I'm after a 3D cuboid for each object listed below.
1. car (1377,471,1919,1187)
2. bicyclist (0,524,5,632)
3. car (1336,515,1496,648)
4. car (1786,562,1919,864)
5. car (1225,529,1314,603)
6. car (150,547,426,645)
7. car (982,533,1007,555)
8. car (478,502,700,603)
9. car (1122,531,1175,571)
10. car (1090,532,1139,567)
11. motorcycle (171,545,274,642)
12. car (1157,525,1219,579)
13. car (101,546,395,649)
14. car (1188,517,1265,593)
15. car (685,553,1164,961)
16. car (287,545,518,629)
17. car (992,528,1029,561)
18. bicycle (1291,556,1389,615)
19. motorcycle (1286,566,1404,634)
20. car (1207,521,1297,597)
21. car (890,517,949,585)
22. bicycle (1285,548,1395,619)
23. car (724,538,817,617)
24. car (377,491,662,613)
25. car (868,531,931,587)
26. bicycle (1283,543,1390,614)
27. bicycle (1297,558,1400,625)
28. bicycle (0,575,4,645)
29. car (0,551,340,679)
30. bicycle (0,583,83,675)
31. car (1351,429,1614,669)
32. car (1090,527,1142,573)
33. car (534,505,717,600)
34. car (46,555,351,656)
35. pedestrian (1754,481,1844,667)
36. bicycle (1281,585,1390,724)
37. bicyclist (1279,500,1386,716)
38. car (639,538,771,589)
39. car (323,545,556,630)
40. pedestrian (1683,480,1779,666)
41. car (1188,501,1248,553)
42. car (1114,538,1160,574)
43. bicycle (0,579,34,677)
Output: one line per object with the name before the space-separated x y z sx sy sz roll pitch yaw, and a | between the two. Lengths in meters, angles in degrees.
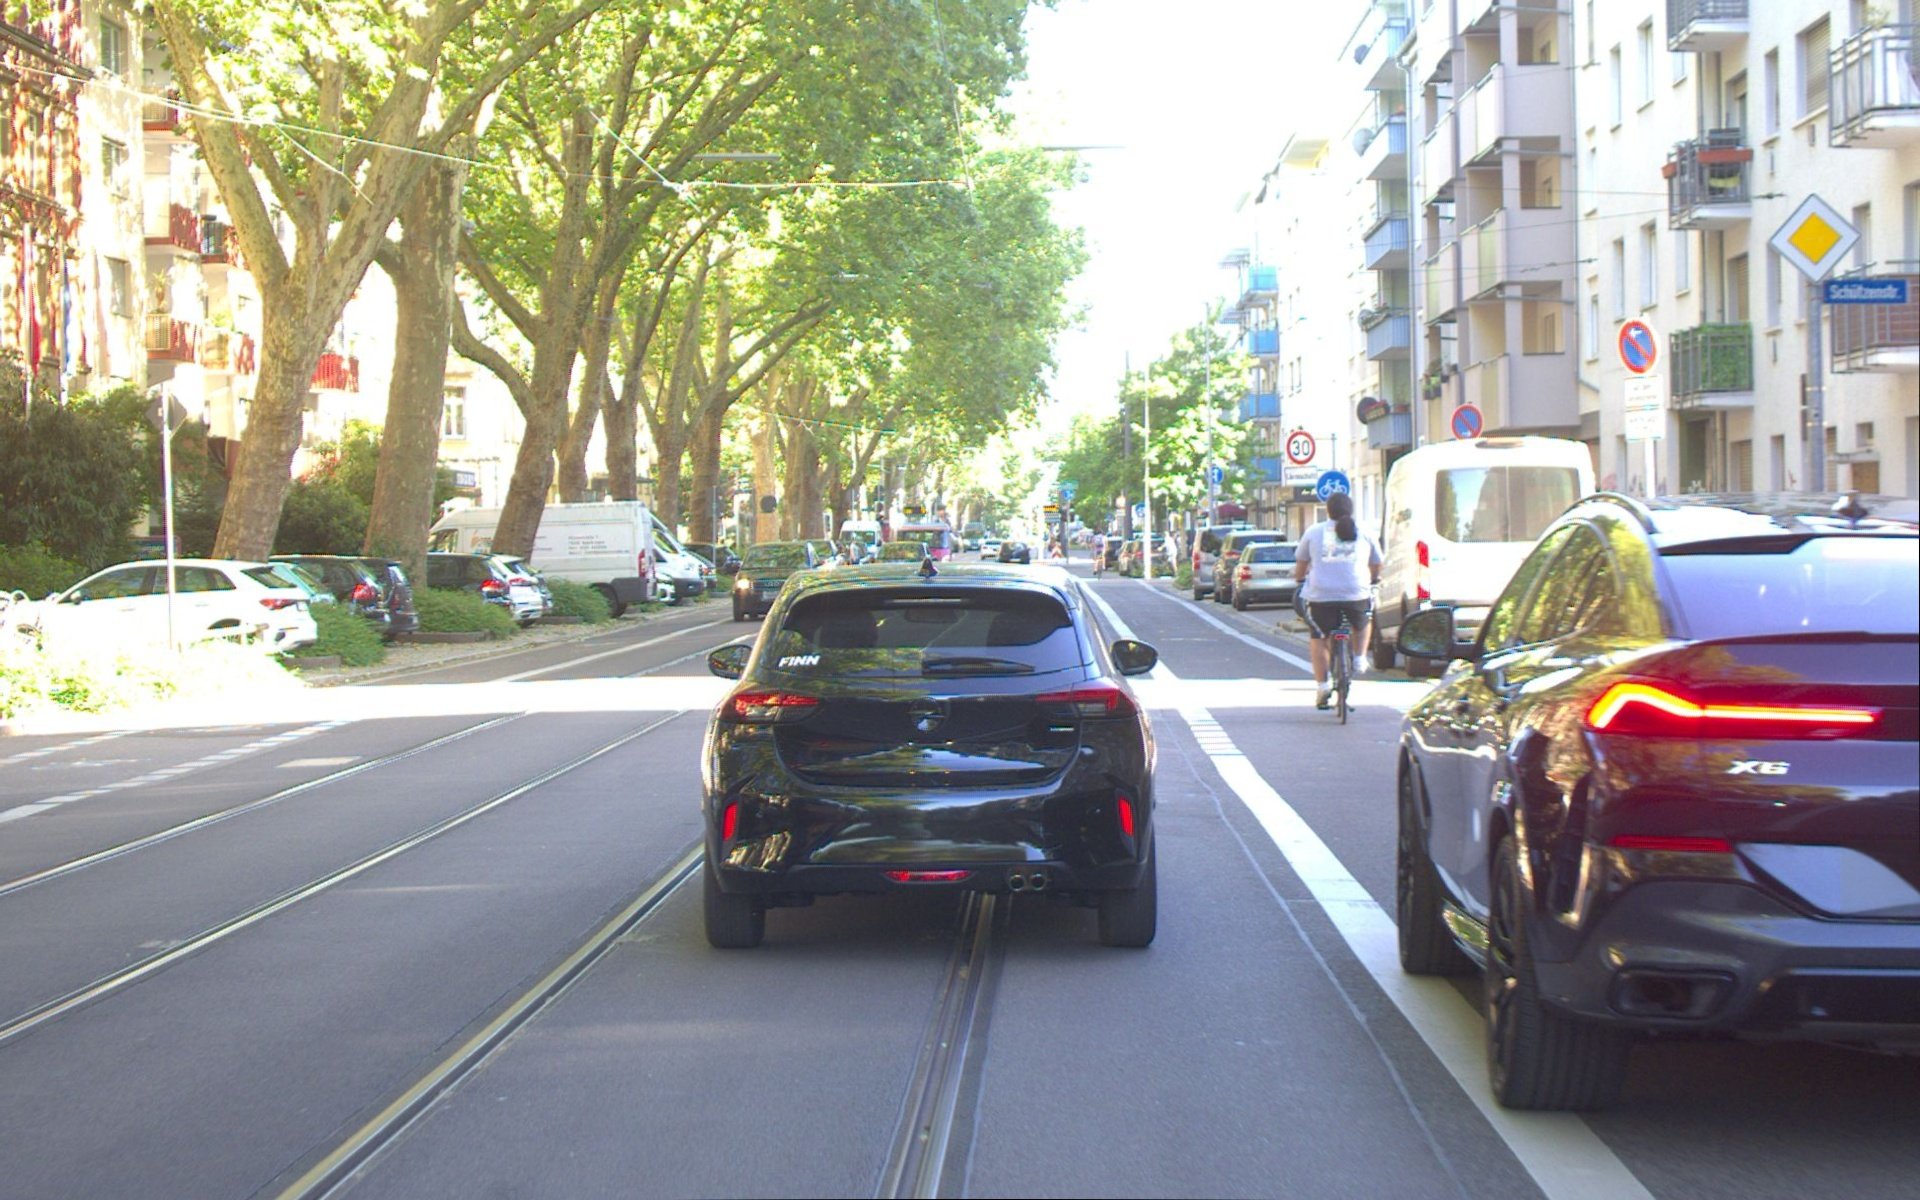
car | 2.427 0.504 10.479 1.944 1.698 4.630 0 1 3
bicyclist | -16.040 -0.346 55.624 0.830 1.757 1.048 -1 1 1
car | 6.500 -0.295 49.357 1.858 1.814 4.351 -1 1 2
car | 5.489 0.517 17.648 1.649 1.415 4.059 -3 1 3
car | 6.655 -0.757 74.247 1.724 1.520 4.512 -1 1 3
car | -10.637 -0.075 54.574 3.987 1.455 1.704 -1 1 4
car | 2.356 -3.835 235.224 1.680 1.417 3.628 1 1 1
car | -9.459 -1.211 87.869 5.360 2.469 2.057 -1 1 2
car | 7.620 -1.990 139.047 1.718 1.568 4.085 -1 1 -2
car | 7.350 -2.409 163.821 1.993 1.634 4.001 -1 1 -2
motorcycle | -12.785 -0.131 59.678 1.052 1.625 3.012 1 1 1
car | 7.078 -1.507 107.200 1.858 1.646 4.000 -1 1 3
car | -10.691 -0.047 51.775 3.987 1.455 1.770 -1 1 4
car | 6.913 -1.182 89.425 1.858 1.883 4.924 -1 1 3
car | -0.094 0.531 13.990 1.680 1.417 3.628 1 1 1
car | -9.898 -0.241 61.204 3.793 1.455 1.704 0 1 3
car | 2.596 -2.853 175.879 1.750 1.646 4.000 -1 1 3
bicycle | 6.763 -0.258 61.231 1.653 0.963 0.457 -3 1 2
motorcycle | 6.403 -0.001 57.252 1.821 1.076 0.616 -2 1 25
car | 6.836 -0.983 80.863 1.767 1.699 4.283 -1 1 1
car | -1.350 -1.645 115.444 1.917 2.219 4.960 -1 1 0
bicycle | 6.629 -0.298 60.039 1.794 1.144 0.704 -3 1 2
car | -3.712 -0.460 67.834 1.635 1.504 3.692 -1 1 0
car | -9.339 -1.035 73.254 5.741 2.527 2.162 0 1 2
car | -1.680 -1.161 96.592 1.718 1.504 3.723 -1 1 0
bicycle | 6.760 -0.385 61.753 1.823 1.187 0.457 -3 1 2
bicycle | 6.570 -0.141 58.162 1.653 1.051 0.457 -3 1 2
bicycle | -16.099 0.183 55.574 0.742 1.135 1.780 -1 1 1
car | -9.843 0.190 42.486 3.987 1.455 1.879 -1 0 1
bicycle | -11.121 0.338 40.069 1.804 1.040 0.596 0 1 29
car | 5.818 -0.578 39.047 2.149 2.487 6.088 -1 1 1
car | 5.827 -1.881 128.030 1.858 1.646 4.000 -1 1 3
car | -9.366 -1.351 96.690 4.943 2.559 2.083 -1 1 -1
car | -10.978 0.073 49.696 3.987 1.364 1.605 -1 1 4
pedestrian | 8.412 -0.265 34.493 0.625 1.816 1.082 -2 0 3
bicycle | 3.097 0.430 28.500 0.701 1.088 1.990 1 1 1
bicyclist | 3.084 0.058 28.501 0.786 1.753 0.915 -1 1 1
car | -7.980 -1.147 107.767 3.987 1.516 1.771 -1 1 1
car | -9.640 -0.250 63.898 3.987 1.491 1.830 -1 1 2
pedestrian | 7.739 -0.273 34.535 0.709 1.816 1.082 -2 0 3
car | 8.561 -2.422 114.252 1.858 1.646 4.000 -1 1 3
car | 7.430 -1.863 144.856 1.718 1.485 3.682 -1 1 0
bicycle | -11.473 0.320 38.858 1.920 1.084 0.597 -1 1 20
